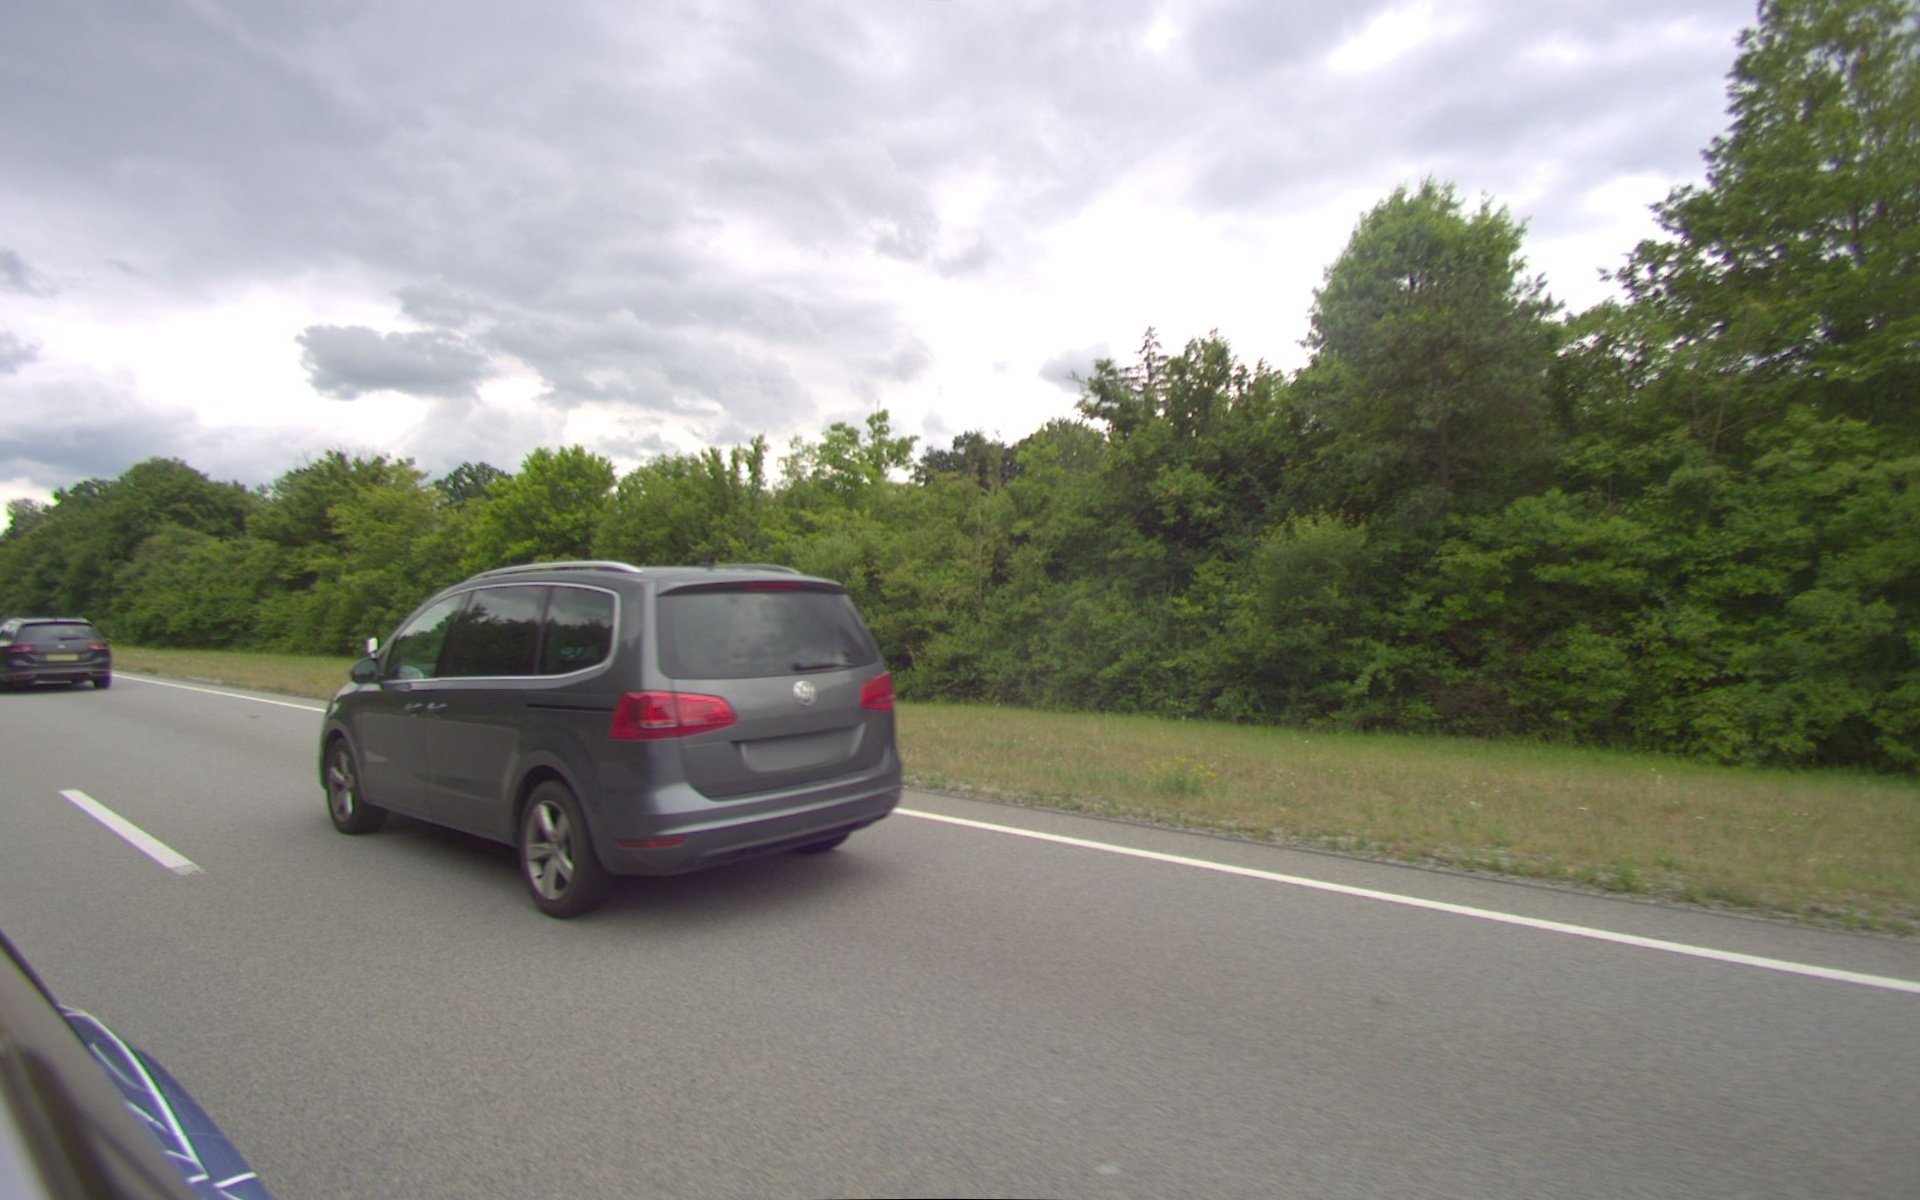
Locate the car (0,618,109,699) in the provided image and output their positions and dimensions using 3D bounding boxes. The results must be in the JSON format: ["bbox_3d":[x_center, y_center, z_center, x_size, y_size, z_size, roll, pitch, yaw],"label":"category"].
[{"bbox_3d":[-19.267,1.141,21.102,4.453,1.490,1.671,-1,0,41],"label":"car"}]

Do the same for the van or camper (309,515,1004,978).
[{"bbox_3d":[-2.080,0.593,6.137,4.419,1.796,1.973,-1,0,41],"label":"van or camper"}]
